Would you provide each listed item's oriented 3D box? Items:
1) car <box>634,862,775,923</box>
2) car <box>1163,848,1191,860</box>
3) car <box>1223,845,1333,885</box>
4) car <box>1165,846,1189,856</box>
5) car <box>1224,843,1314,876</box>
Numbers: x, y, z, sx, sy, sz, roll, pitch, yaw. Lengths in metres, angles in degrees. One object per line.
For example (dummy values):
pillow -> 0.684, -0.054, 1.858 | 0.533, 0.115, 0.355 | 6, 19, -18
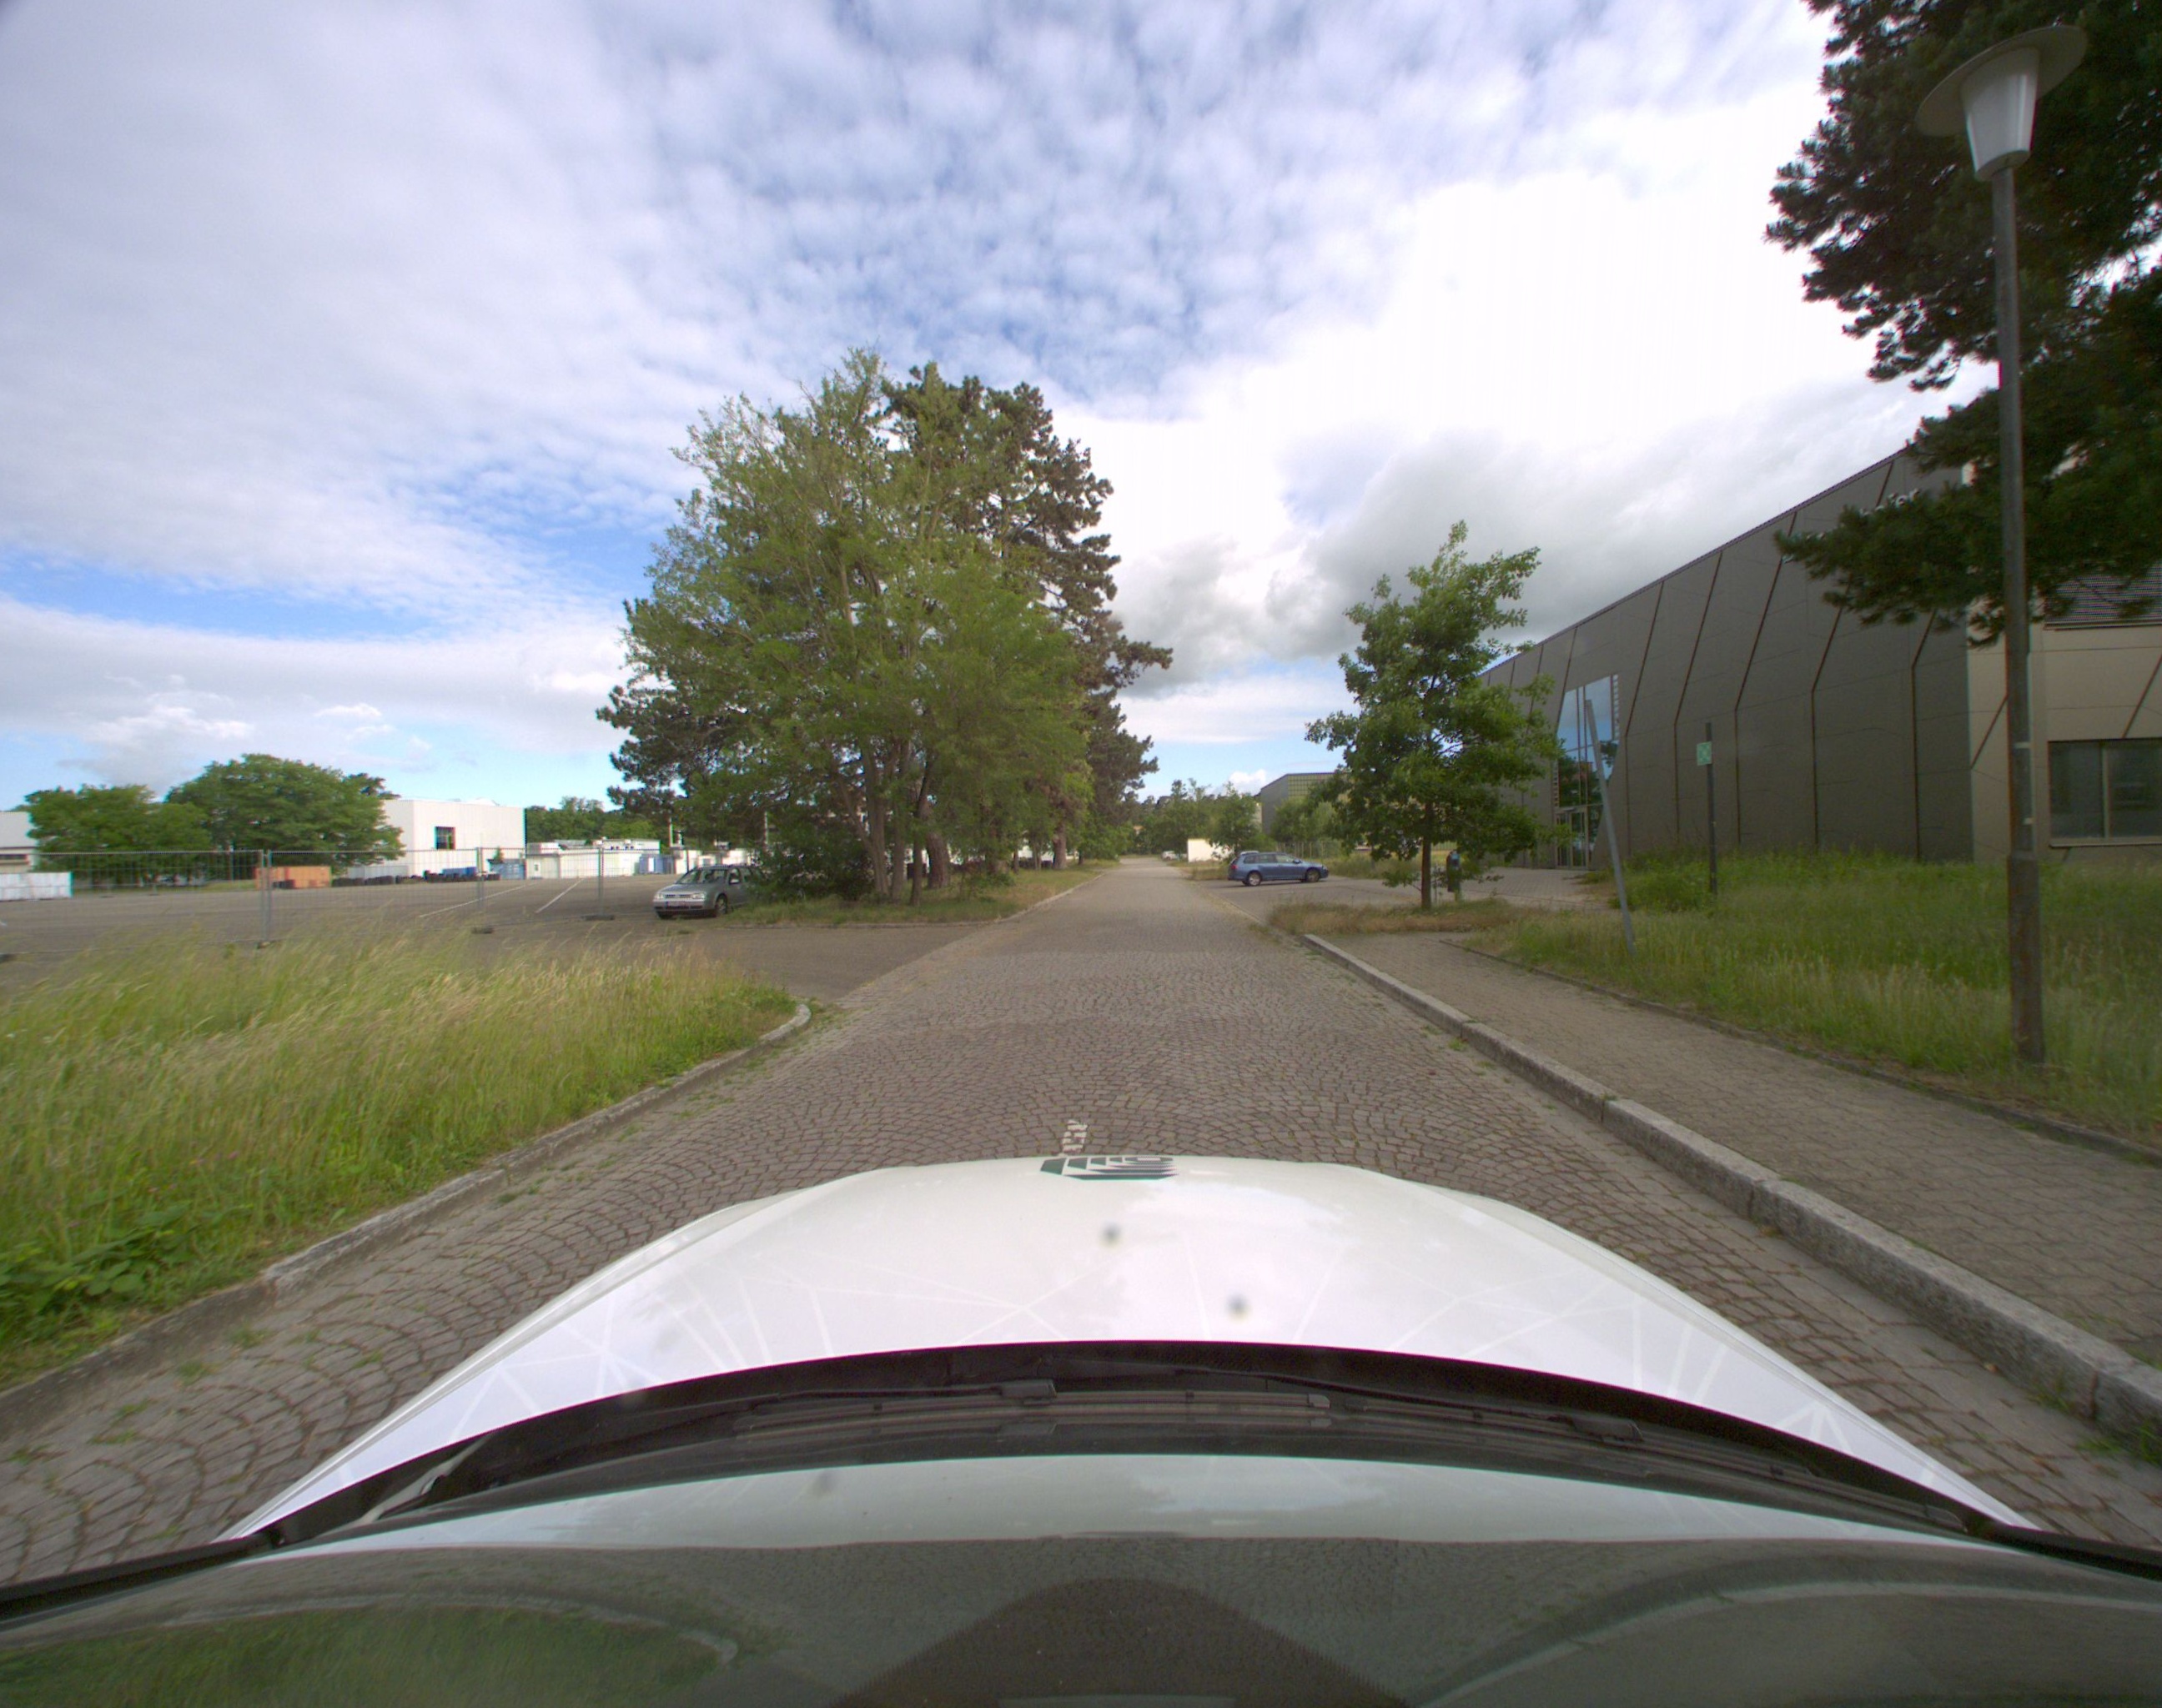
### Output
car -> -10.742, 1.036, 23.640 | 1.912, 1.476, 4.371 | -1, 0, 2
car -> 15.335, 0.008, 130.626 | 4.336, 1.687, 1.927 | -2, 0, 3
car -> 8.916, 0.503, 37.184 | 4.502, 1.531, 2.000 | -3, 0, 1
car -> 17.878, -0.511, 151.522 | 4.333, 1.780, 1.928 | -2, 0, 5
car -> 10.214, 0.284, 44.463 | 4.496, 1.531, 2.003 | -3, 0, 4
